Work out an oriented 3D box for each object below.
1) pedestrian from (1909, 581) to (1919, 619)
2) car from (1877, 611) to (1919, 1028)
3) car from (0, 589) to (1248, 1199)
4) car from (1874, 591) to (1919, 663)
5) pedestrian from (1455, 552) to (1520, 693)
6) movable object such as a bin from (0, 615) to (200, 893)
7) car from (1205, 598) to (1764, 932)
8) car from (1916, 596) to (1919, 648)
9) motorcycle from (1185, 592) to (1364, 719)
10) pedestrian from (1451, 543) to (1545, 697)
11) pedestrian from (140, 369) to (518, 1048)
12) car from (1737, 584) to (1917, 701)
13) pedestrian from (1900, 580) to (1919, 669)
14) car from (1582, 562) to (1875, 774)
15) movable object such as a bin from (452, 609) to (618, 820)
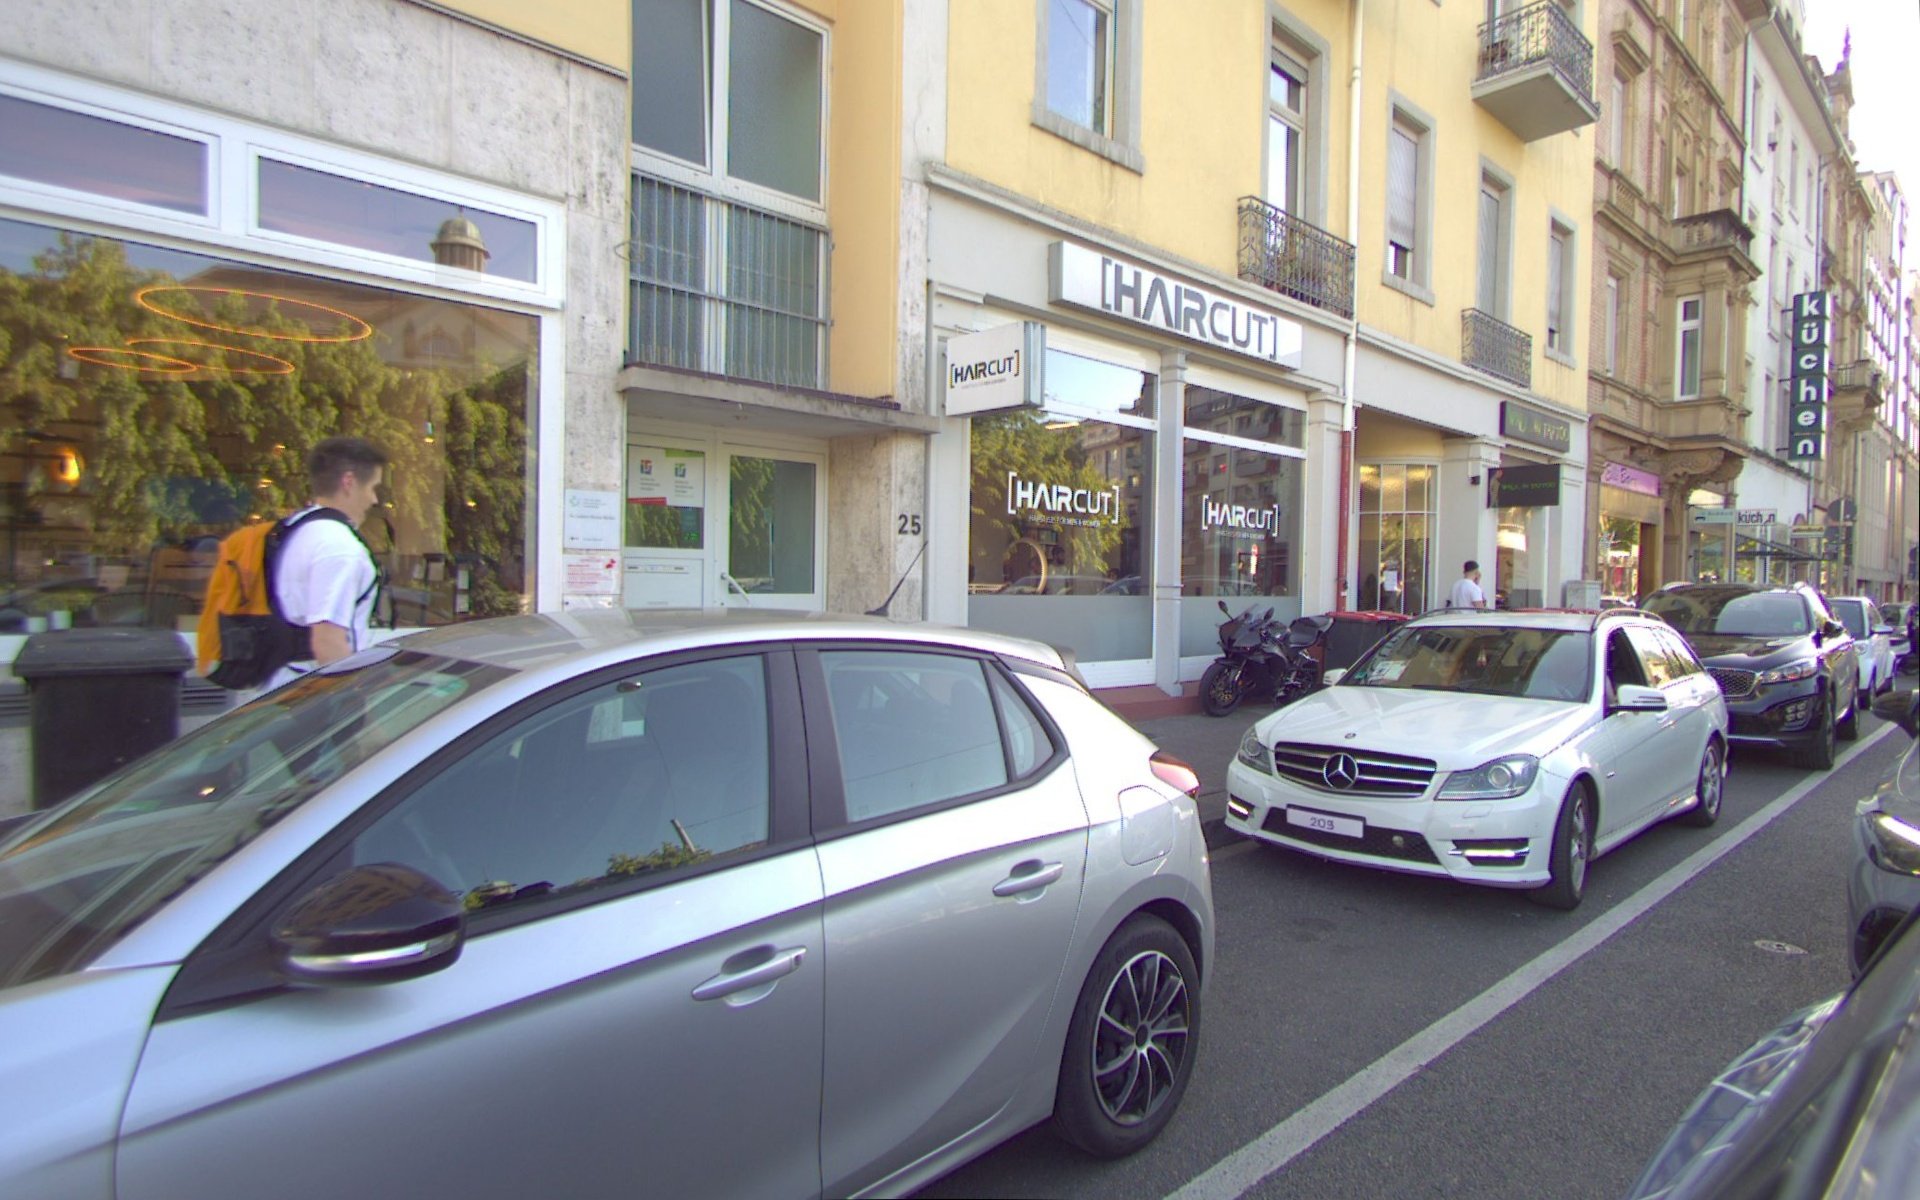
[{"bbox_3d":[44.854,0.004,47.183,0.809,1.782,0.825,0,0,-42],"label":"pedestrian"},{"bbox_3d":[5.391,0.745,4.379,4.397,1.385,1.767,-1,1,-43],"label":"car"},{"bbox_3d":[-1.012,0.710,2.310,3.625,1.455,1.585,-1,0,-43],"label":"car"},{"bbox_3d":[21.891,0.561,22.813,3.736,1.509,1.691,-1,0,-45],"label":"car"},{"bbox_3d":[7.233,0.296,13.877,0.627,1.859,0.760,0,0,41],"label":"pedestrian"},{"bbox_3d":[-3.680,0.594,4.326,0.639,1.036,0.737,0,0,-41],"label":"movable object such as a bin"},{"bbox_3d":[3.526,0.704,6.391,4.301,1.389,1.671,-1,0,-41],"label":"car"},{"bbox_3d":[26.602,0.569,26.931,3.306,1.334,1.459,-1,0,-42],"label":"car"},{"bbox_3d":[3.295,0.518,10.507,2.073,1.144,0.735,-1,5,-41],"label":"motorcycle"},{"bbox_3d":[6.855,0.248,12.924,0.961,1.900,0.532,0,0,18],"label":"pedestrian"},{"bbox_3d":[-2.087,0.287,3.370,0.964,1.846,0.811,0,0,-37],"label":"pedestrian"},{"bbox_3d":[12.764,0.542,14.856,2.945,1.542,1.582,-1,0,-41],"label":"car"},{"bbox_3d":[19.142,0.478,19.751,0.802,1.741,0.839,0,0,-14],"label":"pedestrian"},{"bbox_3d":[8.003,0.526,10.370,4.338,1.711,1.802,-1,0,-45],"label":"car"},{"bbox_3d":[-2.333,0.576,5.540,0.639,1.036,0.737,0,0,-41],"label":"movable object such as a bin"}]
